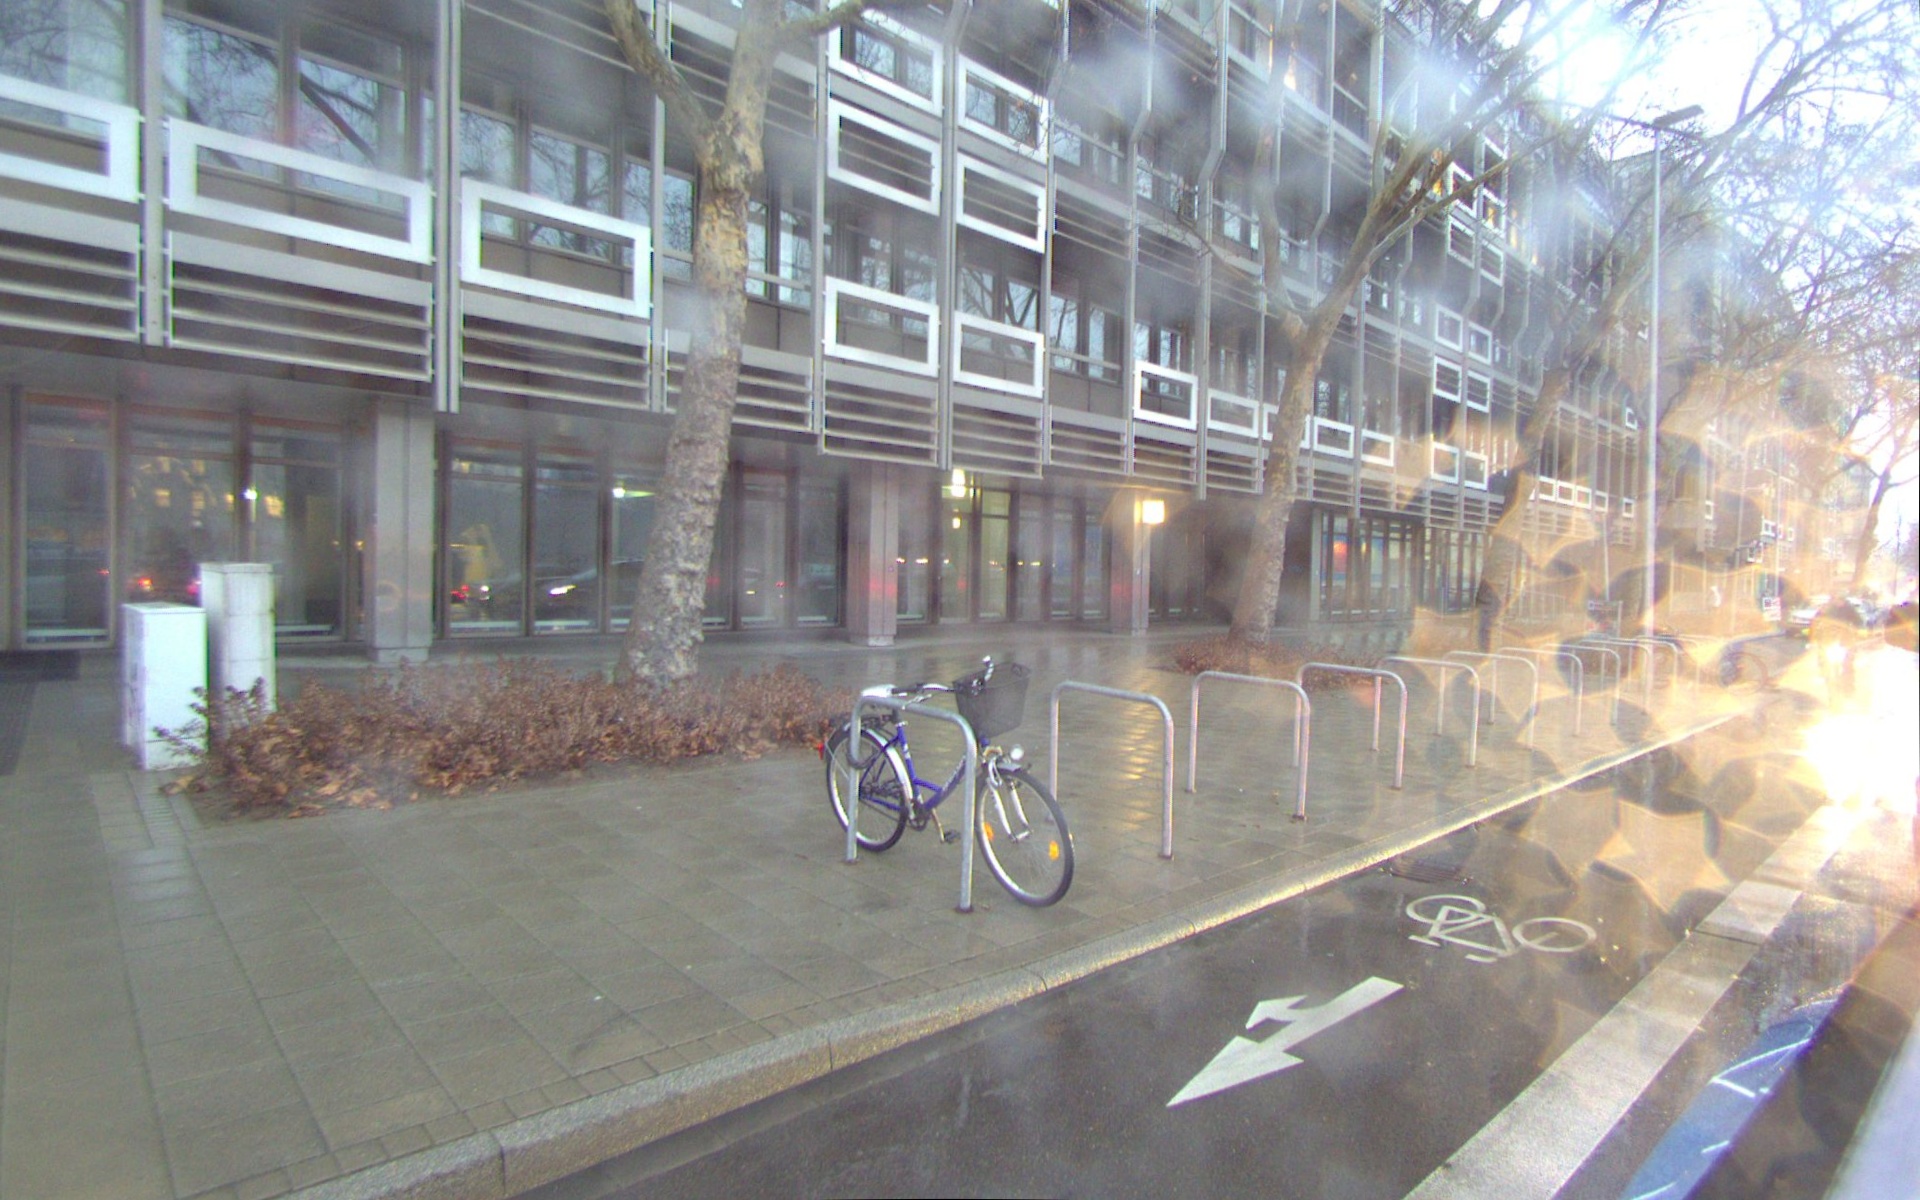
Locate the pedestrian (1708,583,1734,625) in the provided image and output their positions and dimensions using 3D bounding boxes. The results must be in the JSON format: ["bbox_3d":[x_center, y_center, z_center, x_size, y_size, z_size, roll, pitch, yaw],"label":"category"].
[{"bbox_3d":[32.972,0.173,43.857,0.765,1.771,0.913,2,2,45],"label":"pedestrian"}]

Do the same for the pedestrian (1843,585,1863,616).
[{"bbox_3d":[51.235,0.021,58.069,0.765,1.771,0.913,2,2,45],"label":"pedestrian"}]

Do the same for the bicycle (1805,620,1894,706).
[{"bbox_3d":[12.631,0.853,14.355,1.752,1.108,0.709,1,0,-41],"label":"bicycle"}]

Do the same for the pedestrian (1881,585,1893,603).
[{"bbox_3d":[92.834,-0.597,101.330,0.765,1.771,0.913,2,2,45],"label":"pedestrian"}]

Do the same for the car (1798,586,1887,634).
[{"bbox_3d":[29.471,0.289,33.764,3.930,1.482,1.711,-1,1,-41],"label":"car"}]

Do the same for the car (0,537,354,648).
[{"bbox_3d":[-10.806,-0.147,14.000,3.929,1.326,1.998,0,3,-40],"label":"car"}]

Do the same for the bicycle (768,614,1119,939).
[{"bbox_3d":[-0.164,0.711,4.867,0.629,1.145,1.810,2,2,-41],"label":"bicycle"}]

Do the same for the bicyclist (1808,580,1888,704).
[{"bbox_3d":[12.546,0.564,14.295,0.947,1.681,0.704,1,1,-41],"label":"bicyclist"}]

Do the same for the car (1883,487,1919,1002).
[{"bbox_3d":[5.484,0.507,4.366,3.932,1.864,1.875,-1,0,-42],"label":"car"}]

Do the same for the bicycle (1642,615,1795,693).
[{"bbox_3d":[11.679,0.798,15.624,0.864,1.004,1.704,0,4,-41],"label":"bicycle"}]

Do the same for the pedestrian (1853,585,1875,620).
[{"bbox_3d":[46.623,0.126,52.214,0.765,1.771,0.913,2,2,45],"label":"pedestrian"}]

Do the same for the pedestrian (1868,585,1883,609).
[{"bbox_3d":[69.826,-0.238,77.211,0.765,1.771,0.913,2,2,45],"label":"pedestrian"}]
